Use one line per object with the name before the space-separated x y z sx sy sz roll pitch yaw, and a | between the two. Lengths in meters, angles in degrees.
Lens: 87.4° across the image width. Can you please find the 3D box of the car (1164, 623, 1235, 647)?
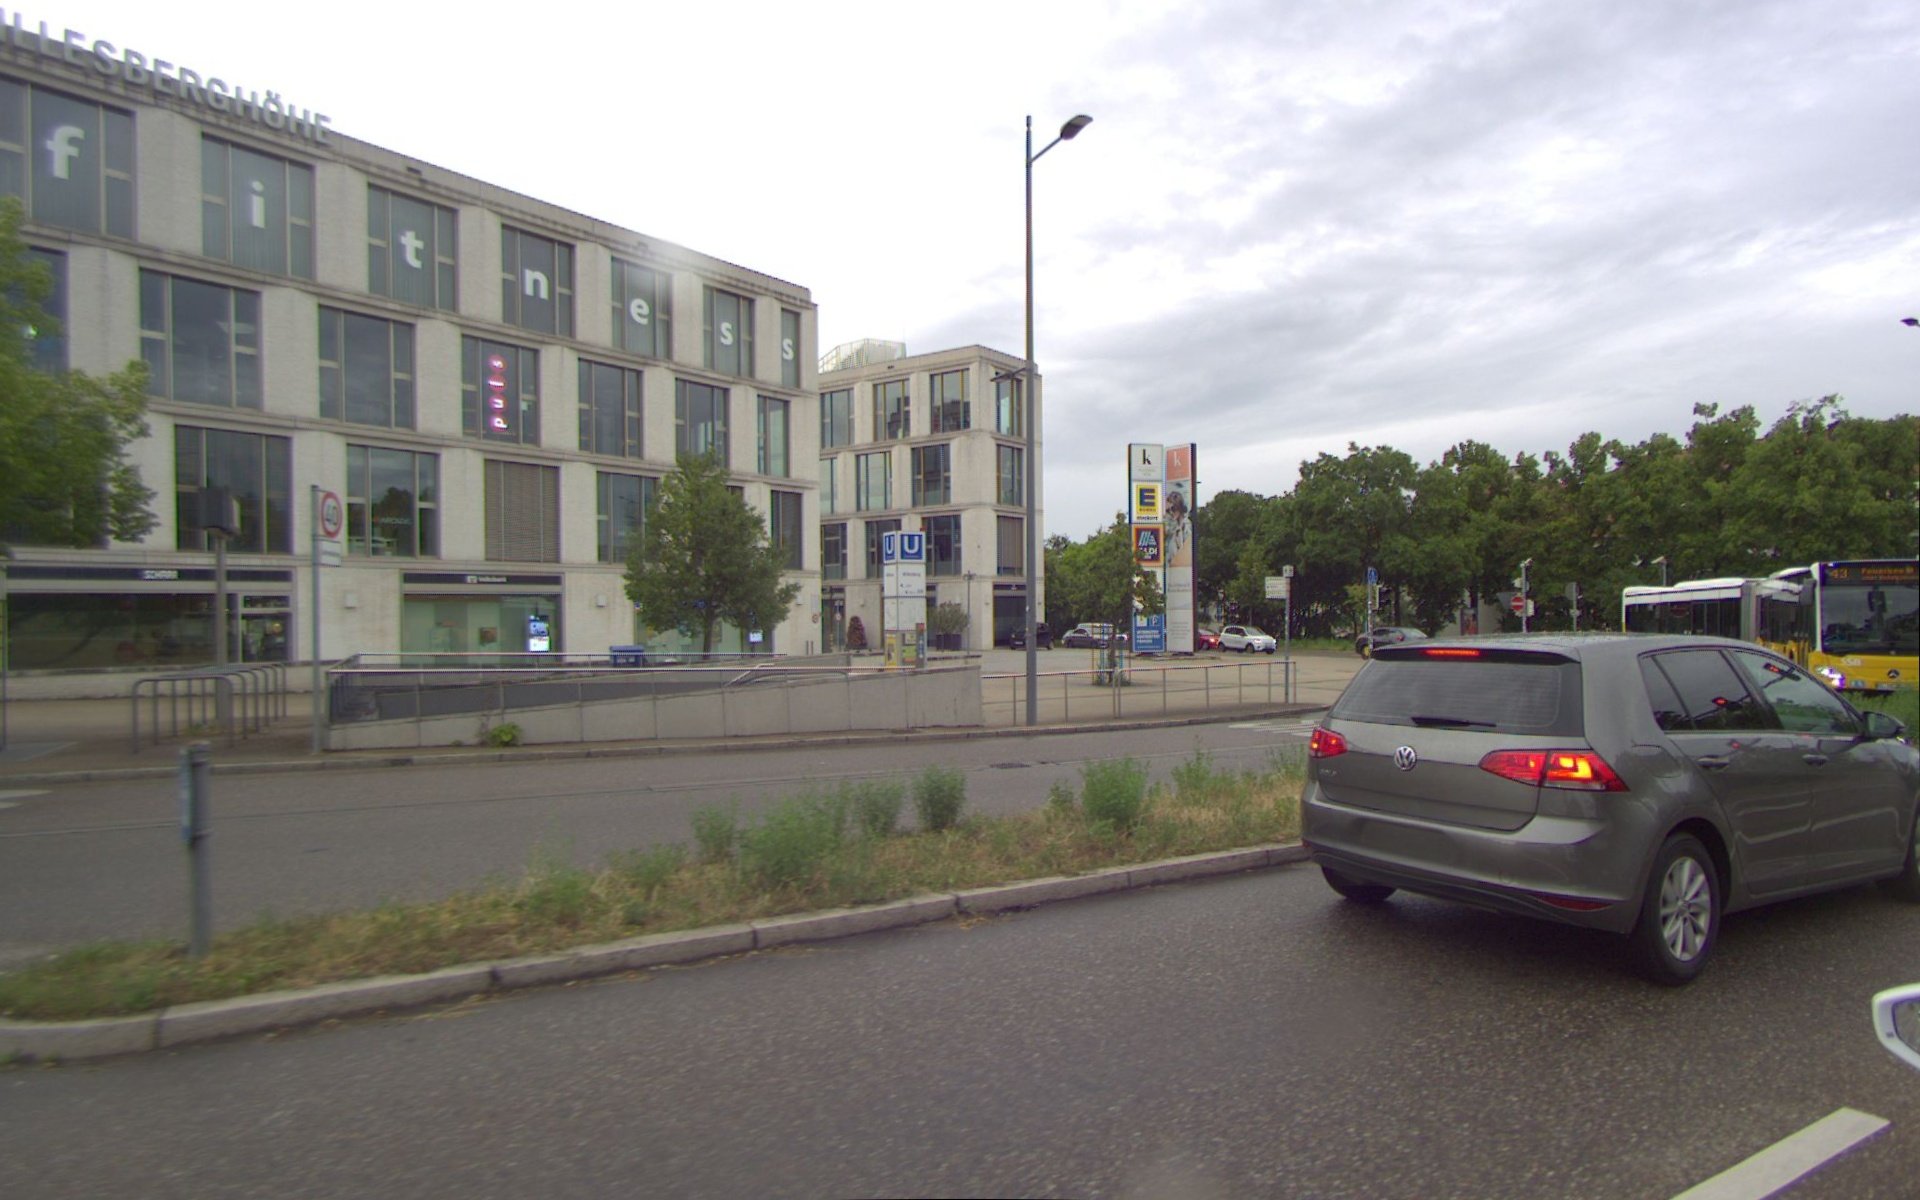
car | 15.498 2.226 65.238 1.977 1.444 4.504 1 -1 -30

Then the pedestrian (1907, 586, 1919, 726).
pedestrian | 14.539 0.802 14.481 0.835 2.039 0.939 1 -4 -23

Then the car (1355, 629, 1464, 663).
car | 21.074 2.109 47.281 1.976 1.444 4.427 1 -1 -29

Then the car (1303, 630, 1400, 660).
car | 21.015 2.397 54.074 1.823 1.444 4.842 1 -1 -29

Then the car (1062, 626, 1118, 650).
car | 8.480 2.455 65.695 1.648 1.444 3.949 1 -1 -29

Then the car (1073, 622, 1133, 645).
car | 10.047 2.340 70.920 1.939 1.551 4.512 1 -1 -28

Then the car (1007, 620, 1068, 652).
car | 4.439 2.015 56.949 1.749 1.754 3.989 0 -2 34

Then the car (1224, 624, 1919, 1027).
car | 3.619 0.889 5.457 4.146 1.448 1.798 1 -3 -29

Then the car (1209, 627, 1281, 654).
car | 16.211 2.274 57.287 1.823 1.444 3.756 1 -1 -29

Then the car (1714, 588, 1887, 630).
car | 30.284 0.325 36.324 1.981 1.444 4.473 1 -1 -36

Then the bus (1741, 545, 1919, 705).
bus | 21.274 0.606 24.136 2.847 3.144 9.735 -1 -2 31

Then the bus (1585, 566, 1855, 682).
bus | 24.741 0.805 33.461 2.839 3.351 8.580 0 -1 3
